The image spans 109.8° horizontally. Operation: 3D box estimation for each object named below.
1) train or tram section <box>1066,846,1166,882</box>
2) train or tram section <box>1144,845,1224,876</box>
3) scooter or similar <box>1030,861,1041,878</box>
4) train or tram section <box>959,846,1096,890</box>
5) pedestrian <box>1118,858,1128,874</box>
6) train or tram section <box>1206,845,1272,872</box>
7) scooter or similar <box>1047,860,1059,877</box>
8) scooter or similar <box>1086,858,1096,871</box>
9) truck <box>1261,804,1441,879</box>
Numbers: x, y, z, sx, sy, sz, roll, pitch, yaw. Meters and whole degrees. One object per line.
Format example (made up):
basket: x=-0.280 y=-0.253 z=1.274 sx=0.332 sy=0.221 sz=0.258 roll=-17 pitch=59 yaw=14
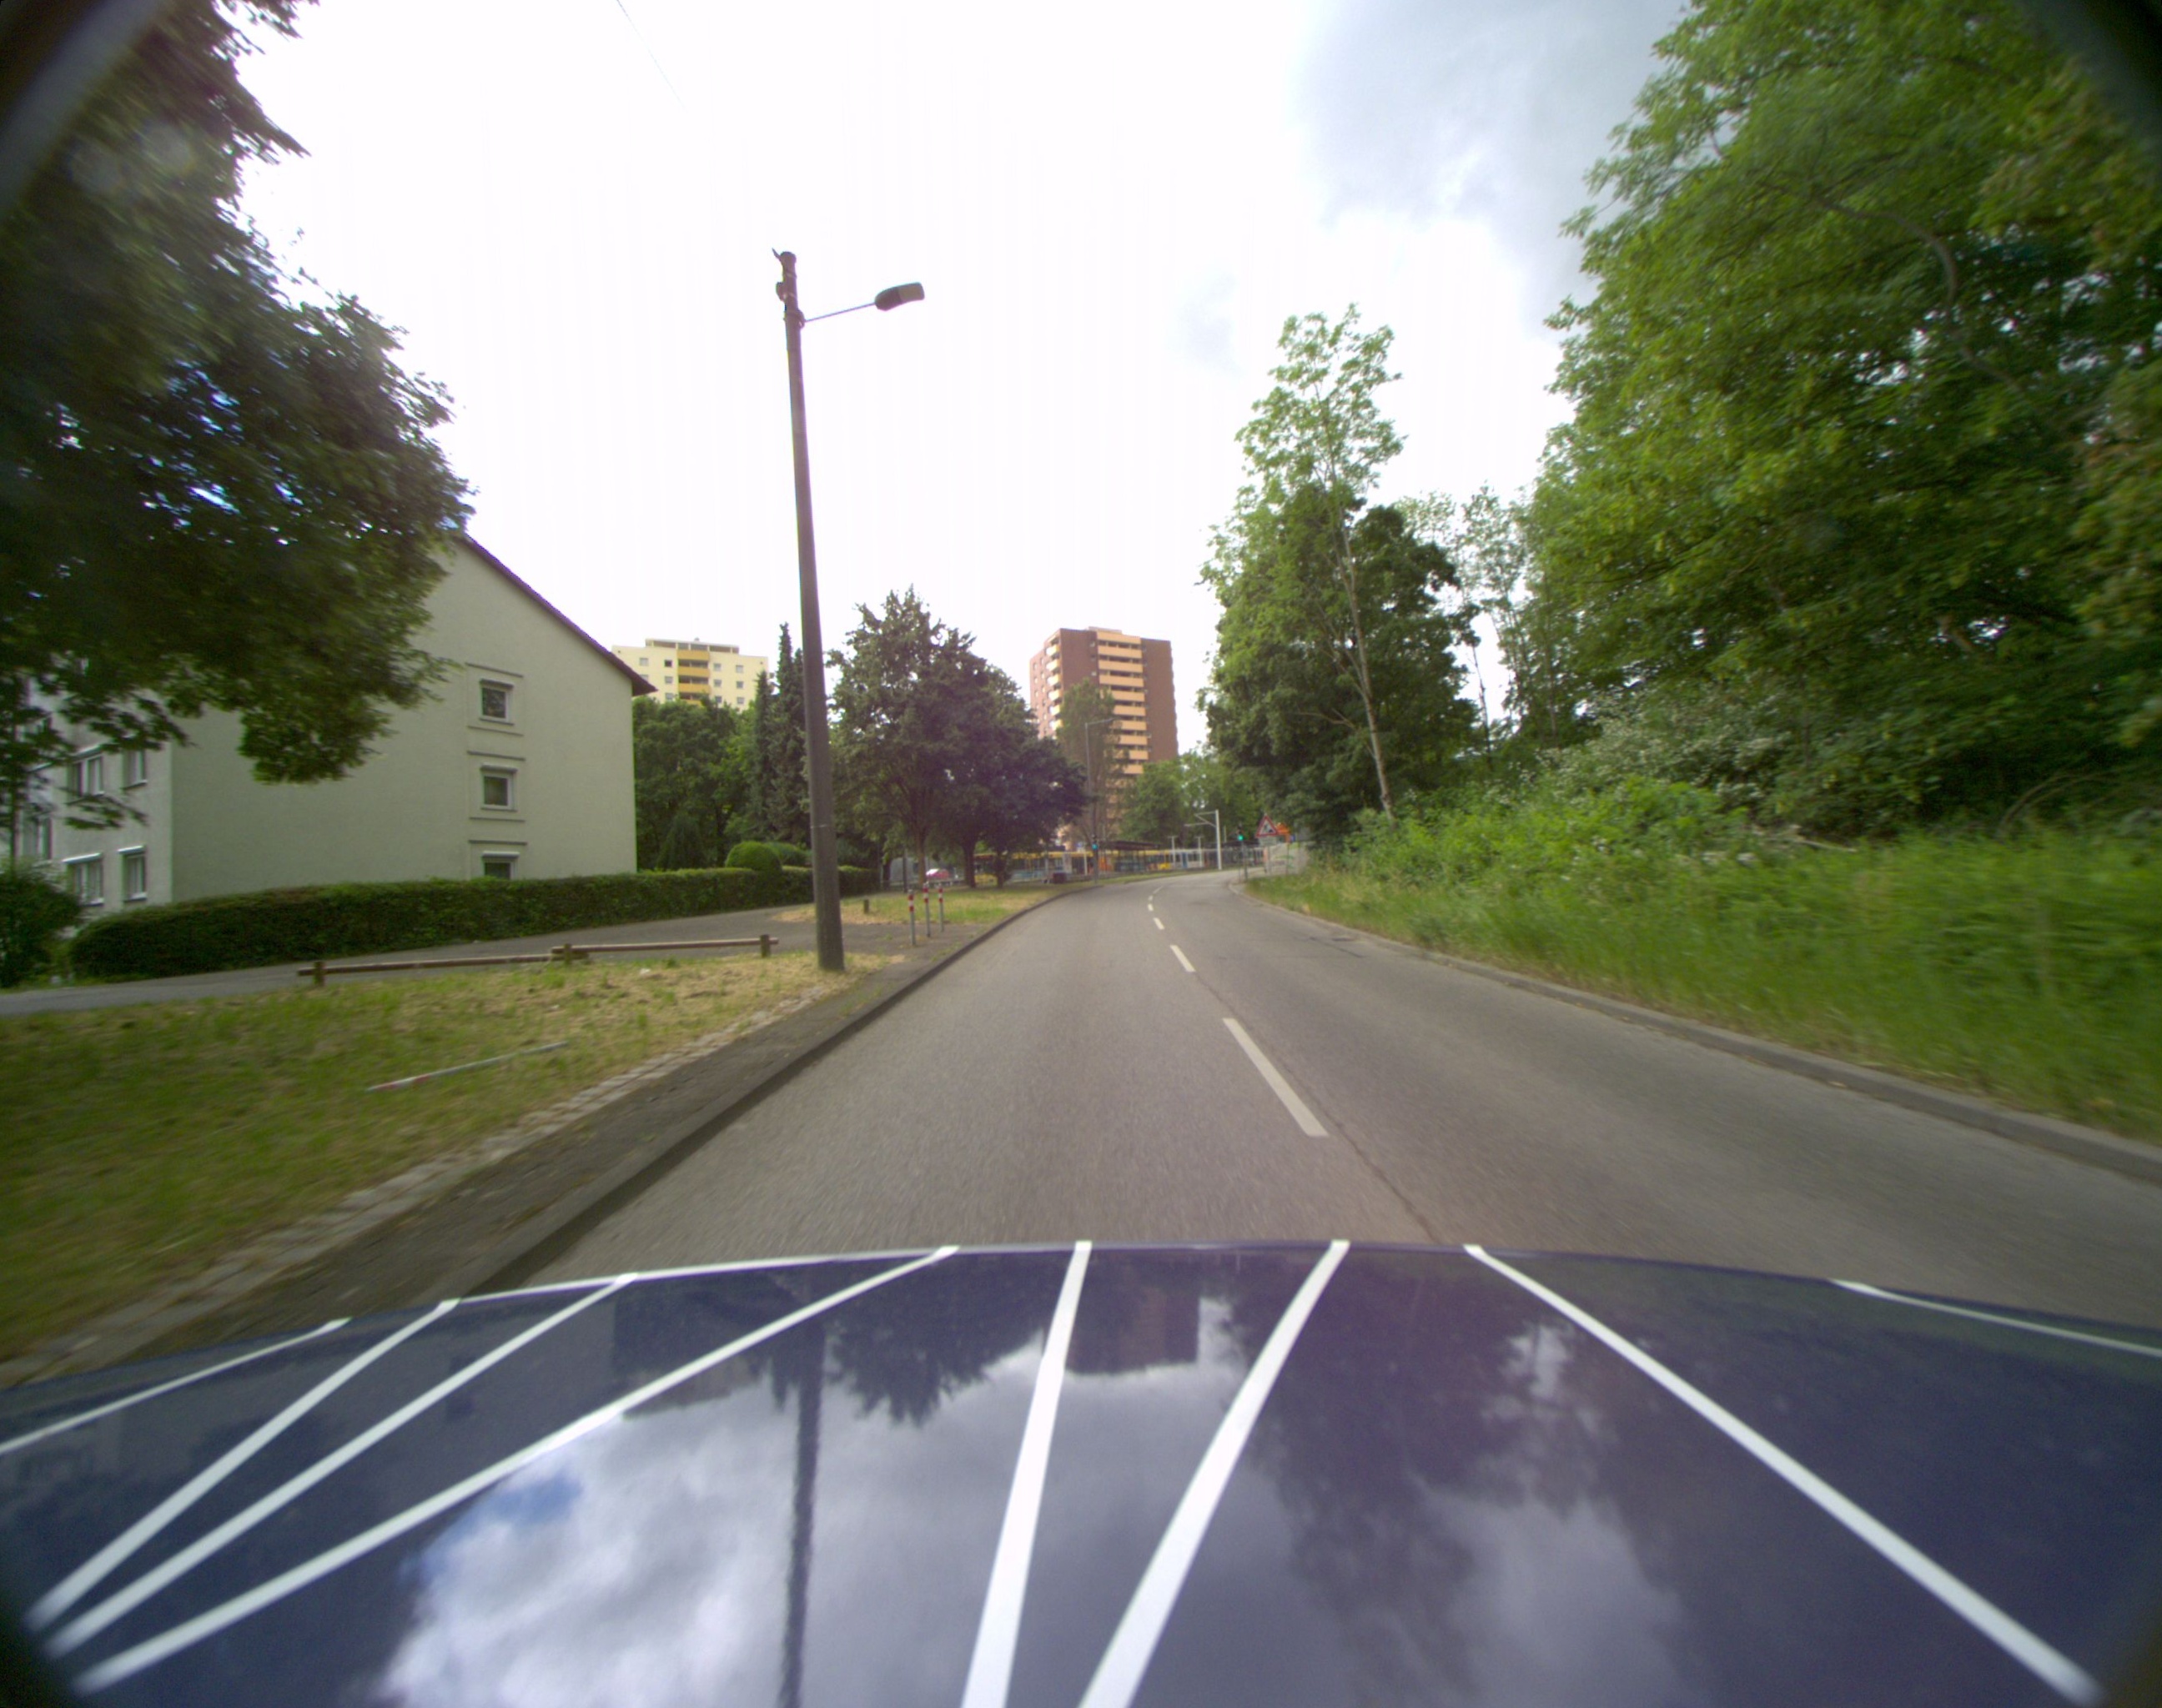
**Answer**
train or tram section: x=4.691 y=0.998 z=91.070 sx=2.816 sy=3.713 sz=19.550 roll=-6 pitch=-2 yaw=31
train or tram section: x=14.994 y=0.784 z=107.595 sx=2.816 sy=3.775 sz=18.970 roll=-6 pitch=-2 yaw=34
scooter or similar: x=-3.695 y=1.250 z=61.580 sx=0.430 sy=1.246 sz=1.256 roll=-3 pitch=1 yaw=16
train or tram section: x=-4.452 y=1.140 z=73.489 sx=2.816 sy=3.566 sz=19.550 roll=-6 pitch=-2 yaw=29
pedestrian: x=4.437 y=1.236 z=79.651 sx=0.666 sy=1.563 sz=0.623 roll=-4 pitch=0 yaw=-44
train or tram section: x=25.920 y=0.555 z=123.075 sx=2.816 sy=3.713 sz=18.568 roll=-6 pitch=-2 yaw=36
scooter or similar: x=-2.311 y=1.197 z=62.947 sx=0.430 sy=1.246 sz=1.256 roll=-3 pitch=1 yaw=20
scooter or similar: x=0.969 y=1.024 z=73.100 sx=0.368 sy=1.234 sz=1.148 roll=-4 pitch=-1 yaw=28
truck: x=15.130 y=-0.658 z=43.340 sx=9.245 sy=3.510 sz=2.567 roll=-4 pitch=0 yaw=14
